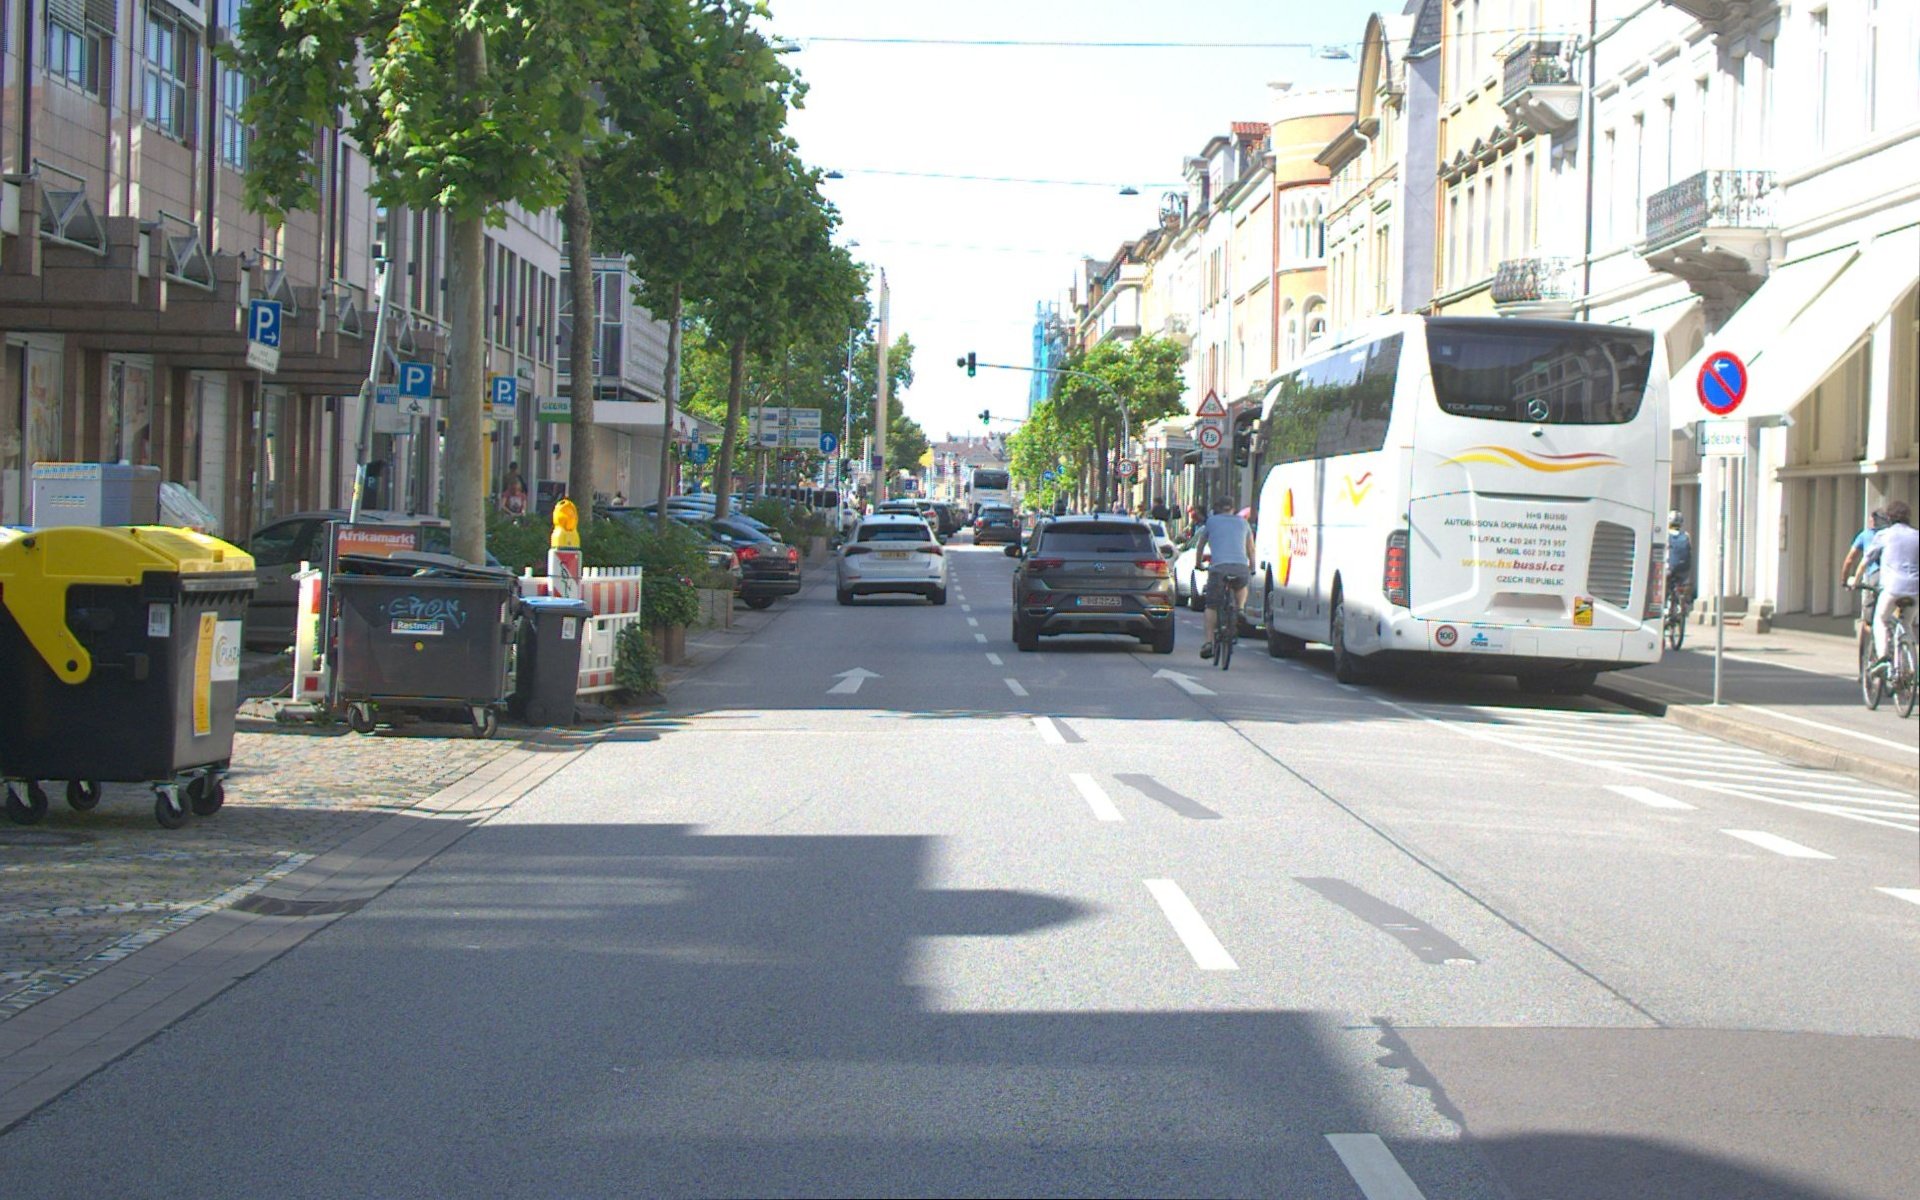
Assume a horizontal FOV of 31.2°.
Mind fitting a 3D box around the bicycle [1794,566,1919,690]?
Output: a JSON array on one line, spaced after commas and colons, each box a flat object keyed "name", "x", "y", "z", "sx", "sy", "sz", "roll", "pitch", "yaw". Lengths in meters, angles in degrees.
[{"name": "bicycle", "x": 8.565, "y": 0.245, "z": 32.612, "sx": 0.620, "sy": 1.095, "sz": 2.353, "roll": 2, "pitch": 1, "yaw": -2}]

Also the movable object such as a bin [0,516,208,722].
[{"name": "movable object such as a bin", "x": -5.932, "y": 0.113, "z": 23.675, "sx": 1.209, "sy": 1.295, "sz": 1.080, "roll": 3, "pitch": 3, "yaw": 0}]

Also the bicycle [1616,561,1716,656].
[{"name": "bicycle", "x": 8.695, "y": 0.091, "z": 42.430, "sx": 0.620, "sy": 1.095, "sz": 2.353, "roll": 2, "pitch": 1, "yaw": -2}]

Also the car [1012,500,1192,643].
[{"name": "car", "x": 1.598, "y": -0.361, "z": 39.884, "sx": 1.833, "sy": 1.522, "sz": 4.000, "roll": 1, "pitch": 1, "yaw": -1}]

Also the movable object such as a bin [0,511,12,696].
[{"name": "movable object such as a bin", "x": -7.327, "y": 0.014, "z": 23.713, "sx": 1.209, "sy": 1.295, "sz": 1.127, "roll": 3, "pitch": 2, "yaw": 0}]

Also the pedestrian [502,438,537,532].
[{"name": "pedestrian", "x": -7.872, "y": -2.053, "z": 61.474, "sx": 0.565, "sy": 1.651, "sz": 0.637, "roll": 1, "pitch": 2, "yaw": -5}]

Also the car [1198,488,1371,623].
[{"name": "car", "x": 4.895, "y": -0.719, "z": 52.443, "sx": 1.827, "sy": 1.857, "sz": 4.355, "roll": 3, "pitch": 2, "yaw": -4}]

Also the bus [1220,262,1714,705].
[{"name": "bus", "x": 4.935, "y": -1.186, "z": 36.508, "sx": 2.881, "sy": 3.729, "sz": 12.428, "roll": 3, "pitch": 1, "yaw": -2}]

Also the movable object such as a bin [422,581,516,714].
[{"name": "movable object such as a bin", "x": -3.588, "y": 0.343, "z": 25.137, "sx": 0.499, "sy": 0.936, "sz": 0.555, "roll": 1, "pitch": 2, "yaw": 16}]

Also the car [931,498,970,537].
[{"name": "car", "x": -0.499, "y": -4.163, "z": 174.688, "sx": 1.863, "sy": 1.843, "sz": 4.000, "roll": 0, "pitch": 0, "yaw": -1}]

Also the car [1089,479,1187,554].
[{"name": "car", "x": 3.785, "y": -1.764, "z": 73.741, "sx": 1.833, "sy": 1.522, "sz": 4.000, "roll": 0, "pitch": 0, "yaw": -1}]

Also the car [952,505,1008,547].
[{"name": "car", "x": 0.708, "y": -2.668, "z": 122.837, "sx": 1.863, "sy": 1.436, "sz": 4.001, "roll": 1, "pitch": 2, "yaw": -1}]

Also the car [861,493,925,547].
[{"name": "car", "x": -1.886, "y": -2.269, "z": 96.773, "sx": 1.743, "sy": 1.436, "sz": 4.001, "roll": 1, "pitch": 2, "yaw": -1}]

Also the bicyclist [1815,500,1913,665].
[{"name": "bicyclist", "x": 8.573, "y": -0.169, "z": 32.628, "sx": 0.620, "sy": 1.524, "sz": 0.869, "roll": 2, "pitch": 1, "yaw": -2}]

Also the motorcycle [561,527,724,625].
[{"name": "motorcycle", "x": -4.085, "y": -0.320, "z": 44.222, "sx": 1.912, "sy": 1.166, "sz": 0.759, "roll": 3, "pitch": 2, "yaw": 20}]

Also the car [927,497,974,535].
[{"name": "car", "x": -0.412, "y": -3.446, "z": 141.509, "sx": 1.863, "sy": 1.436, "sz": 4.000, "roll": 0, "pitch": 0, "yaw": -1}]

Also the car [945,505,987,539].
[{"name": "car", "x": 0.286, "y": -3.627, "z": 160.365, "sx": 1.863, "sy": 1.436, "sz": 4.000, "roll": 0, "pitch": 0, "yaw": -1}]

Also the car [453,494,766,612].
[{"name": "car", "x": -5.352, "y": -0.726, "z": 52.067, "sx": 4.754, "sy": 1.528, "sz": 1.985, "roll": 4, "pitch": 2, "yaw": 42}]

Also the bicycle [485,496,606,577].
[{"name": "bicycle", "x": -7.406, "y": -1.136, "z": 61.453, "sx": 2.064, "sy": 1.284, "sz": 0.368, "roll": 4, "pitch": 1, "yaw": -7}]

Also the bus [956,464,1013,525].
[{"name": "bus", "x": 1.473, "y": -6.490, "z": 211.804, "sx": 2.769, "sy": 3.592, "sz": 8.975, "roll": 1, "pitch": 2, "yaw": -3}]

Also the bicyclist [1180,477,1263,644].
[{"name": "bicyclist", "x": 2.711, "y": -0.420, "z": 35.733, "sx": 0.694, "sy": 1.667, "sz": 0.916, "roll": 4, "pitch": 2, "yaw": 1}]

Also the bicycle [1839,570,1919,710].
[{"name": "bicycle", "x": 7.927, "y": 0.323, "z": 29.294, "sx": 0.594, "sy": 1.116, "sz": 1.800, "roll": 2, "pitch": 2, "yaw": 7}]

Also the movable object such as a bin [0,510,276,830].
[{"name": "movable object such as a bin", "x": -4.201, "y": 0.314, "z": 17.129, "sx": 1.124, "sy": 1.445, "sz": 1.438, "roll": 3, "pitch": 2, "yaw": 5}]

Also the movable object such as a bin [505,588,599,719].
[{"name": "movable object such as a bin", "x": -3.013, "y": 0.388, "z": 25.386, "sx": 0.553, "sy": 0.936, "sz": 0.500, "roll": -1, "pitch": 2, "yaw": -26}]

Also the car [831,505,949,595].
[{"name": "car", "x": -1.137, "y": -0.841, "z": 57.418, "sx": 1.863, "sy": 1.436, "sz": 4.000, "roll": 1, "pitch": 1, "yaw": 0}]

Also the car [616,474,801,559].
[{"name": "car", "x": -6.064, "y": -2.013, "z": 82.764, "sx": 3.993, "sy": 1.563, "sz": 1.697, "roll": 7, "pitch": 2, "yaw": 25}]

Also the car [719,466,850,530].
[{"name": "car", "x": -6.648, "y": -3.857, "z": 129.938, "sx": 4.721, "sy": 1.996, "sz": 1.937, "roll": 6, "pitch": 1, "yaw": 40}]

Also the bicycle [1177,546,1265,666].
[{"name": "bicycle", "x": 2.686, "y": 0.044, "z": 35.617, "sx": 0.664, "sy": 1.116, "sz": 2.243, "roll": 4, "pitch": 2, "yaw": 0}]

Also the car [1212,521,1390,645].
[{"name": "car", "x": 4.581, "y": -0.277, "z": 46.914, "sx": 1.859, "sy": 1.464, "sz": 5.226, "roll": 3, "pitch": 2, "yaw": 0}]

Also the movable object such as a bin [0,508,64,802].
[{"name": "movable object such as a bin", "x": -5.324, "y": 0.256, "z": 17.234, "sx": 1.124, "sy": 1.445, "sz": 1.438, "roll": 3, "pitch": 2, "yaw": 5}]

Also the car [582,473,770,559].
[{"name": "car", "x": -6.299, "y": -1.875, "z": 76.373, "sx": 3.986, "sy": 1.495, "sz": 1.718, "roll": 6, "pitch": 1, "yaw": -4}]

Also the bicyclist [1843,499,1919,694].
[{"name": "bicyclist", "x": 7.902, "y": -0.036, "z": 29.116, "sx": 0.694, "sy": 1.620, "sz": 0.835, "roll": 1, "pitch": 1, "yaw": 8}]

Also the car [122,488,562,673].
[{"name": "car", "x": -5.878, "y": -0.216, "z": 32.492, "sx": 4.055, "sy": 1.489, "sz": 1.931, "roll": 4, "pitch": 3, "yaw": 41}]

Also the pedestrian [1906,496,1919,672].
[{"name": "pedestrian", "x": 9.907, "y": -0.154, "z": 34.431, "sx": 0.573, "sy": 1.772, "sz": 1.020, "roll": 1, "pitch": 0, "yaw": 2}]

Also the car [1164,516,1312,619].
[{"name": "car", "x": 4.628, "y": -0.579, "z": 57.908, "sx": 1.813, "sy": 1.461, "sz": 4.581, "roll": 3, "pitch": 2, "yaw": -3}]

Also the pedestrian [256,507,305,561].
[{"name": "pedestrian", "x": -11.144, "y": -1.086, "z": 56.398, "sx": 0.566, "sy": 0.806, "sz": 0.774, "roll": 6, "pitch": 2, "yaw": 0}]

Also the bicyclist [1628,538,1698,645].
[{"name": "bicyclist", "x": 8.696, "y": -0.110, "z": 42.555, "sx": 0.620, "sy": 1.292, "sz": 0.867, "roll": 2, "pitch": 1, "yaw": -2}]

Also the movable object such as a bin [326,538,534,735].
[{"name": "movable object such as a bin", "x": -3.667, "y": 0.239, "z": 23.850, "sx": 1.277, "sy": 1.295, "sz": 0.853, "roll": 2, "pitch": 1, "yaw": 0}]

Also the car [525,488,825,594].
[{"name": "car", "x": -4.606, "y": -0.957, "z": 55.038, "sx": 4.793, "sy": 1.417, "sz": 1.879, "roll": 5, "pitch": 3, "yaw": 40}]
